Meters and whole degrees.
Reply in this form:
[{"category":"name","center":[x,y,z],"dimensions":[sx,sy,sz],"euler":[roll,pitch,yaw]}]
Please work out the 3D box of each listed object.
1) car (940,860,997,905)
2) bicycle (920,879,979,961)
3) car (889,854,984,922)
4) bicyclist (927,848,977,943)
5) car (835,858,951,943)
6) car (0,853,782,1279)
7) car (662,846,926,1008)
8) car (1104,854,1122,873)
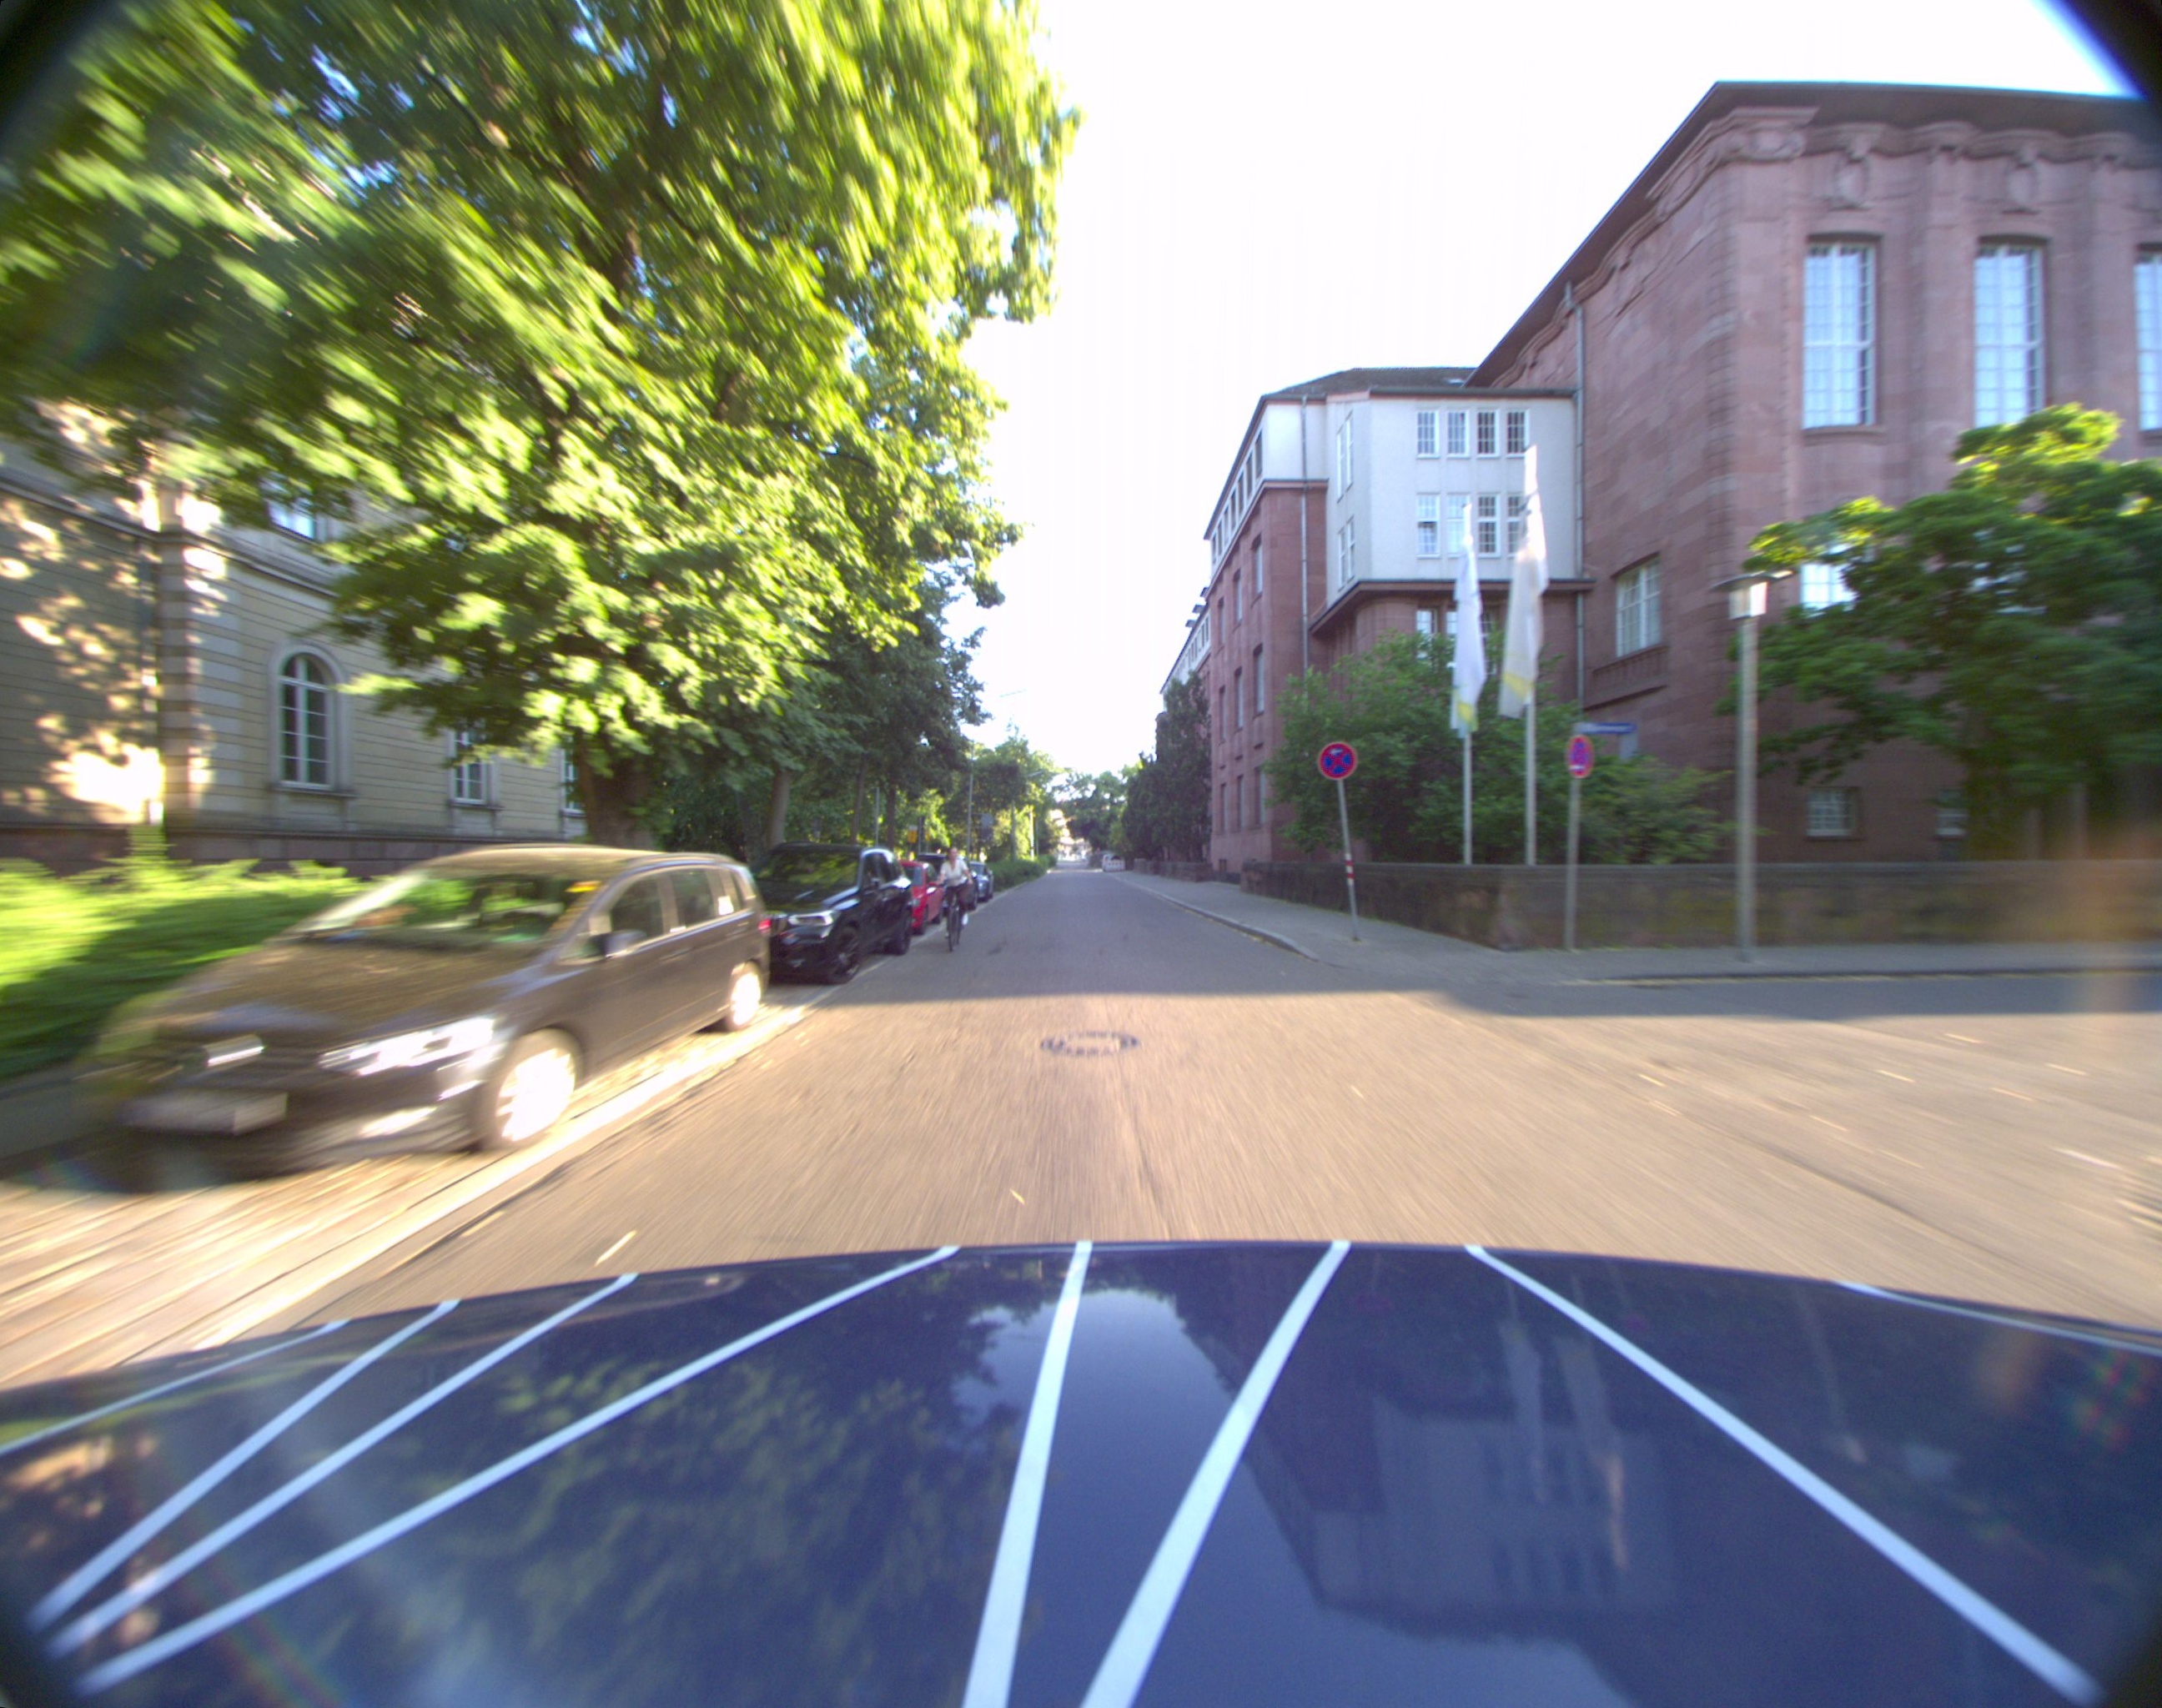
[{"category":"car","center":[-4.070,0.994,28.073],"dimensions":[1.729,1.430,3.998],"euler":[0,1,-3]},{"category":"bicycle","center":[-2.256,1.094,13.274],"dimensions":[0.753,1.245,2.209],"euler":[0,0,-3]},{"category":"car","center":[-4.010,0.872,21.850],"dimensions":[1.886,1.678,4.694],"euler":[0,1,-1]},{"category":"bicyclist","center":[-2.234,0.696,13.293],"dimensions":[0.753,1.603,1.038],"euler":[0,0,-3]},{"category":"car","center":[-3.981,0.911,16.715],"dimensions":[1.729,1.579,3.967],"euler":[0,1,-3]},{"category":"car","center":[-3.817,0.858,5.319],"dimensions":[1.728,1.673,4.498],"euler":[0,1,-1]},{"category":"car","center":[-3.738,0.799,11.045],"dimensions":[1.809,1.803,4.947],"euler":[0,1,2]},{"category":"car","center":[3.698,1.035,87.610],"dimensions":[1.886,2.039,4.324],"euler":[0,1,-1]}]
